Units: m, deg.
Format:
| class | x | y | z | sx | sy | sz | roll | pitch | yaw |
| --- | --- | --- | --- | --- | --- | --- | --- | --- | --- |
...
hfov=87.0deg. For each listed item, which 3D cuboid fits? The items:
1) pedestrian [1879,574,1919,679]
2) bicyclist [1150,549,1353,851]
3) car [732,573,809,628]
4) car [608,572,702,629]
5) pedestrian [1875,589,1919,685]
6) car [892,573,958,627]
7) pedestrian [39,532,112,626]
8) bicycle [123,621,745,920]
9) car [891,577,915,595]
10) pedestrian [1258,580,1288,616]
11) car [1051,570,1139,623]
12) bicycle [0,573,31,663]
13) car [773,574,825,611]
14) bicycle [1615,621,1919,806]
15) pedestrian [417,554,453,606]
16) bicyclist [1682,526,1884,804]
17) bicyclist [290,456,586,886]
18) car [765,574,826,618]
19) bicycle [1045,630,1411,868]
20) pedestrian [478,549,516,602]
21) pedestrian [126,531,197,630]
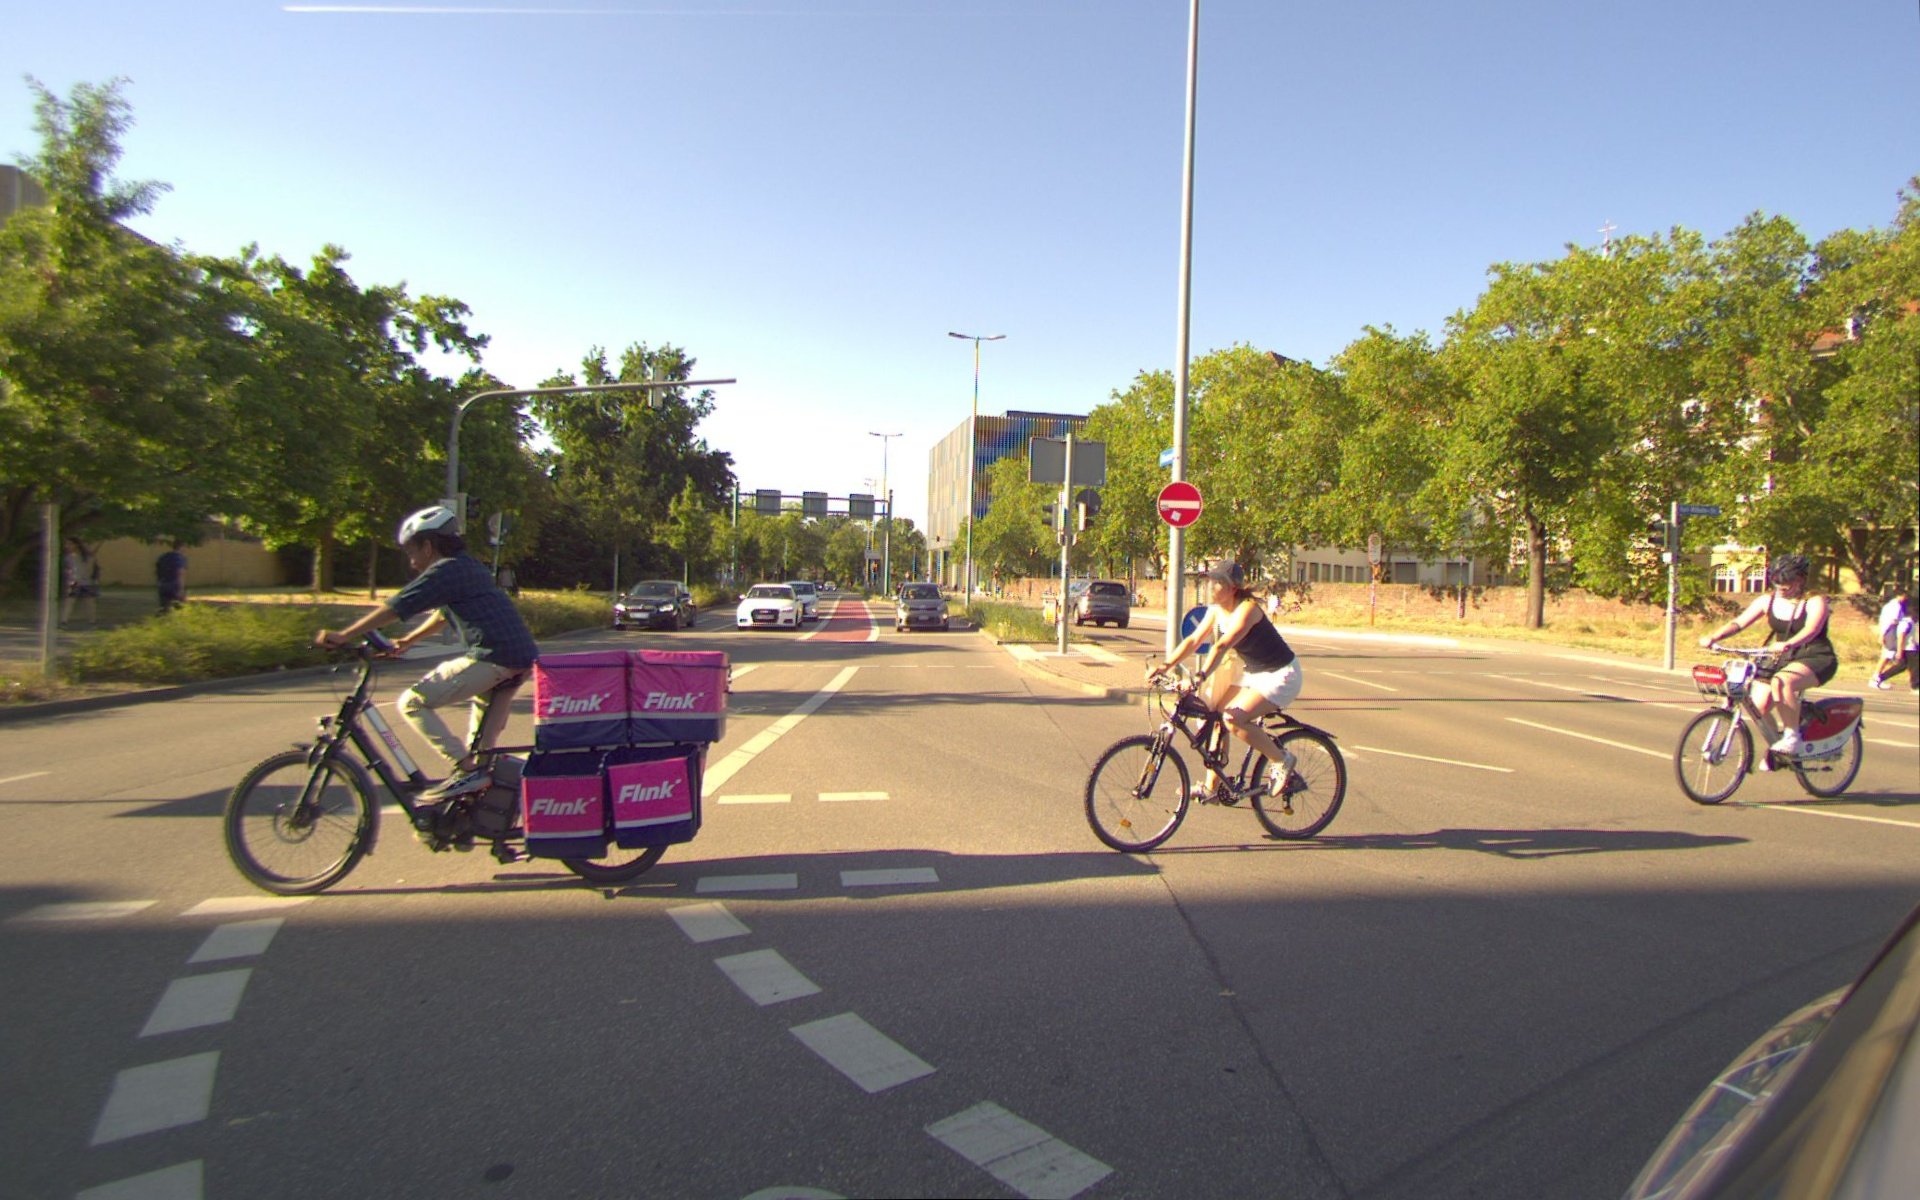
| class | x | y | z | sx | sy | sz | roll | pitch | yaw |
| --- | --- | --- | --- | --- | --- | --- | --- | --- | --- |
| pedestrian | 18.207 | 0.502 | 19.283 | 0.701 | 1.916 | 0.871 | -2 | 5 | -43 |
| bicyclist | 1.621 | 0.532 | 5.720 | 0.832 | 1.569 | 0.719 | 2 | -1 | -13 |
| car | -5.835 | -0.040 | 31.554 | 1.768 | 1.538 | 4.435 | 2 | 1 | -3 |
| car | -9.019 | -0.039 | 30.222 | 1.768 | 1.538 | 4.003 | 2 | 1 | -3 |
| pedestrian | 17.693 | 0.681 | 18.804 | 0.701 | 1.694 | 0.871 | -2 | 5 | -43 |
| car | -1.143 | -0.056 | 31.604 | 1.887 | 1.538 | 4.021 | 2 | 1 | -3 |
| pedestrian | -16.681 | -0.397 | 19.105 | 0.662 | 1.725 | 0.879 | 2 | 1 | -11 |
| bicycle | -2.336 | 0.728 | 4.878 | 2.527 | 1.170 | 0.782 | -1 | 1 | -12 |
| car | -5.625 | -1.372 | 99.695 | 1.959 | 1.616 | 4.007 | 2 | 1 | -8 |
| pedestrian | 14.059 | -0.107 | 45.424 | 0.954 | 1.556 | 0.924 | 2 | 1 | -6 |
| car | 4.767 | -0.167 | 36.387 | 1.959 | 1.705 | 4.636 | 2 | 1 | -7 |
| bicycle | -13.146 | 0.247 | 12.710 | 0.766 | 1.170 | 2.290 | 2 | 1 | 3 |
| car | -7.183 | -0.383 | 45.437 | 1.887 | 1.538 | 4.021 | 2 | 1 | -3 |
| bicycle | 5.709 | 0.737 | 7.036 | 2.023 | 1.135 | 0.721 | 0 | 1 | -13 |
| pedestrian | -16.236 | -0.618 | 31.311 | 0.747 | 1.562 | 0.849 | 2 | 1 | -12 |
| bicyclist | 5.697 | 0.416 | 7.035 | 0.832 | 1.810 | 0.719 | 0 | 1 | -13 |
| bicyclist | -2.430 | 0.292 | 4.856 | 1.070 | 1.856 | 0.782 | -1 | 1 | -12 |
| car | -6.244 | -0.196 | 38.825 | 1.887 | 1.538 | 4.021 | 2 | 1 | -3 |
| bicycle | 1.476 | 0.774 | 5.683 | 1.830 | 1.135 | 0.721 | -1 | 0 | -12 |
| pedestrian | -16.146 | -0.865 | 35.302 | 0.997 | 1.771 | 0.851 | 2 | 1 | -12 |
| pedestrian | -14.409 | -0.355 | 18.286 | 0.698 | 1.734 | 0.735 | 2 | 1 | -6 |
